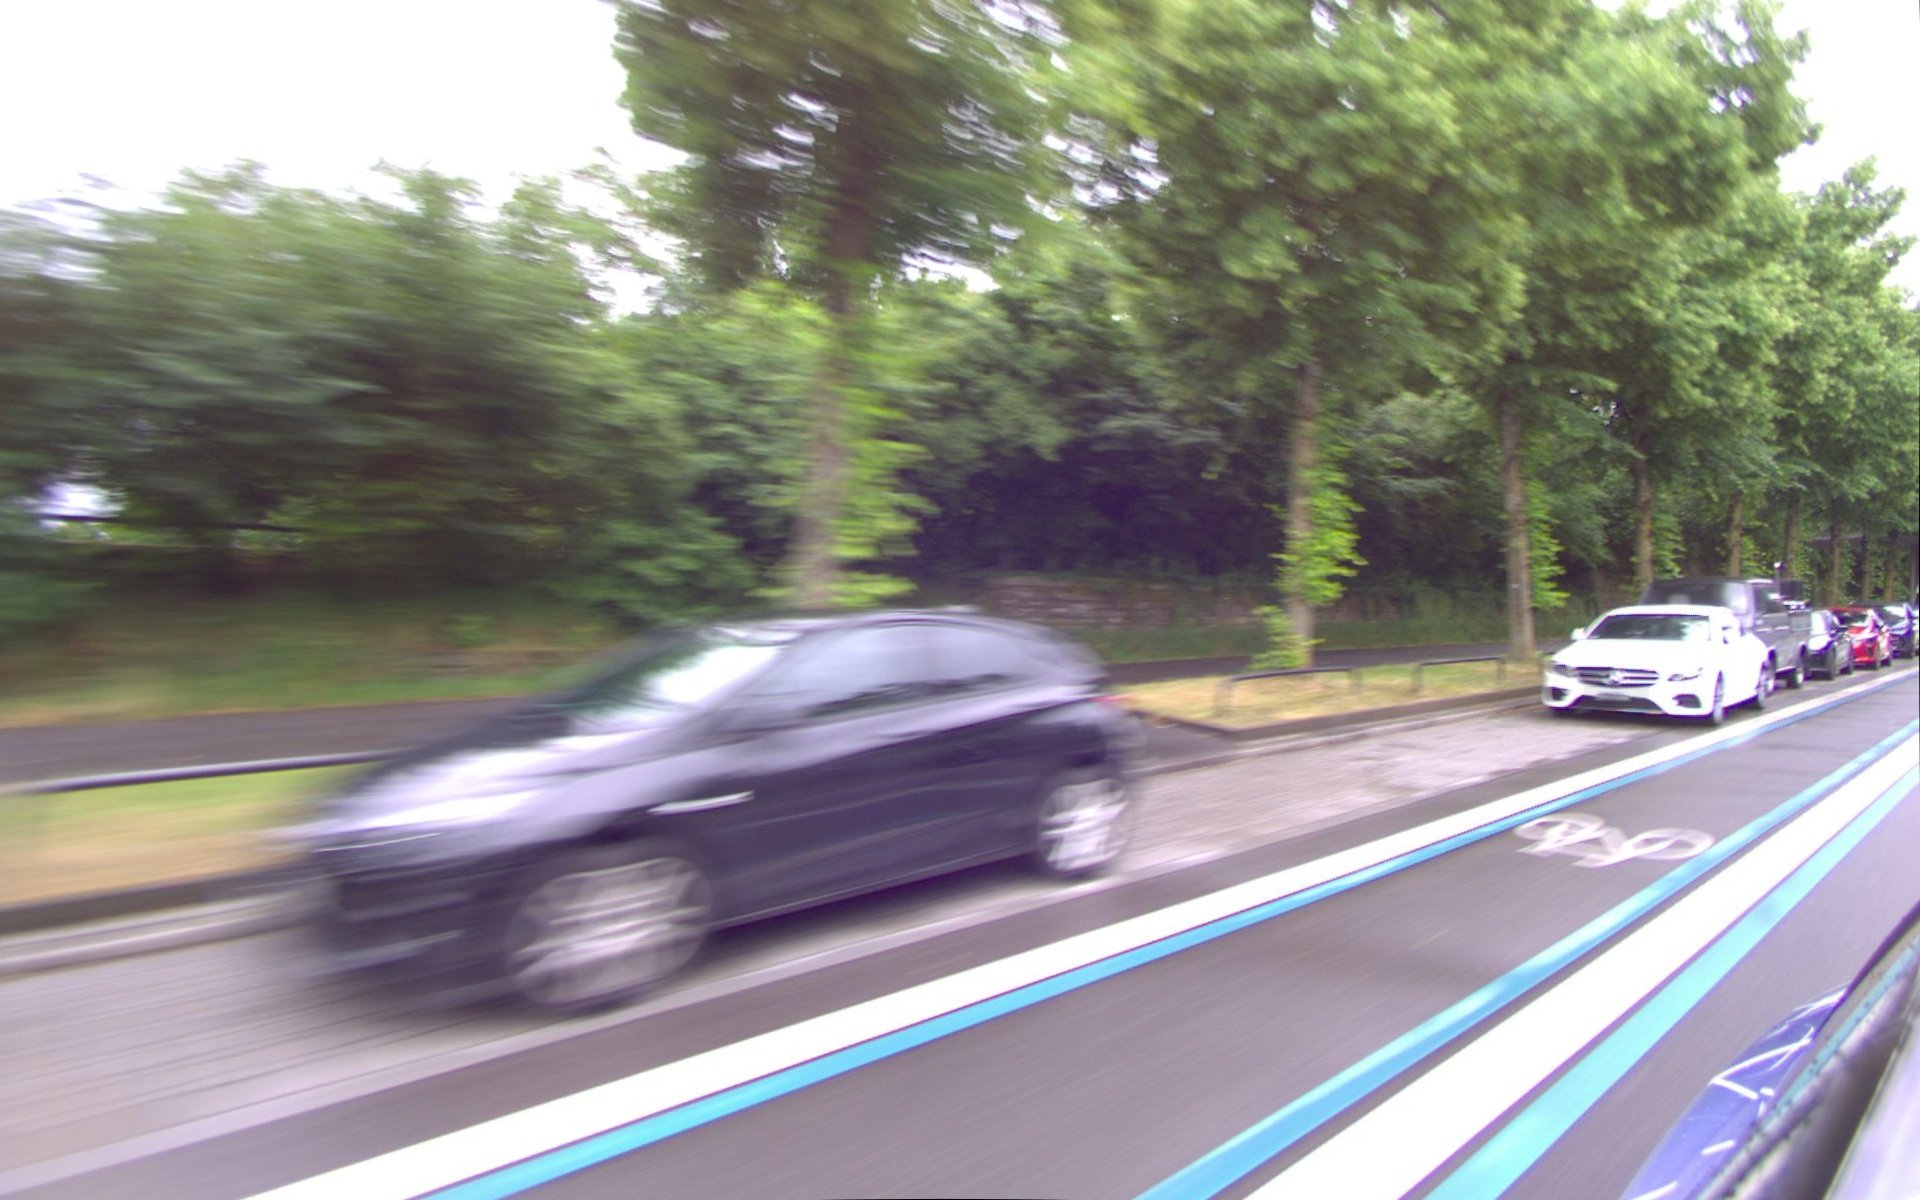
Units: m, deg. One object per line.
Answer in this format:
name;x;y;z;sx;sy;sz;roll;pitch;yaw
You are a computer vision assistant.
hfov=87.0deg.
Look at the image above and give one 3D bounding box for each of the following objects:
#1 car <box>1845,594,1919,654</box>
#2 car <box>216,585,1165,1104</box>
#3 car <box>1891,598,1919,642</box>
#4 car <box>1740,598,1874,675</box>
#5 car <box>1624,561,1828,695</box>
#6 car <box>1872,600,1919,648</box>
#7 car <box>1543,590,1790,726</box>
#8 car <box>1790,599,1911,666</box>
car;27.099;0.655;29.185;4.419;1.610;1.759;0;-1;-41
car;-0.952;0.709;4.976;4.204;1.482;1.733;0;-1;-43
car;35.084;0.713;36.545;3.767;1.533;1.689;0;-1;-41
car;17.762;0.718;21.172;3.682;1.471;1.608;0;-1;-42
car;13.536;0.405;17.781;4.581;2.047;1.930;0;1;-41
car;30.870;0.740;32.760;4.077;1.474;1.687;0;-1;-44
car;9.820;0.670;13.902;4.806;1.562;1.791;0;-1;-43
car;21.427;0.734;24.306;4.093;1.471;1.688;0;-1;-42
